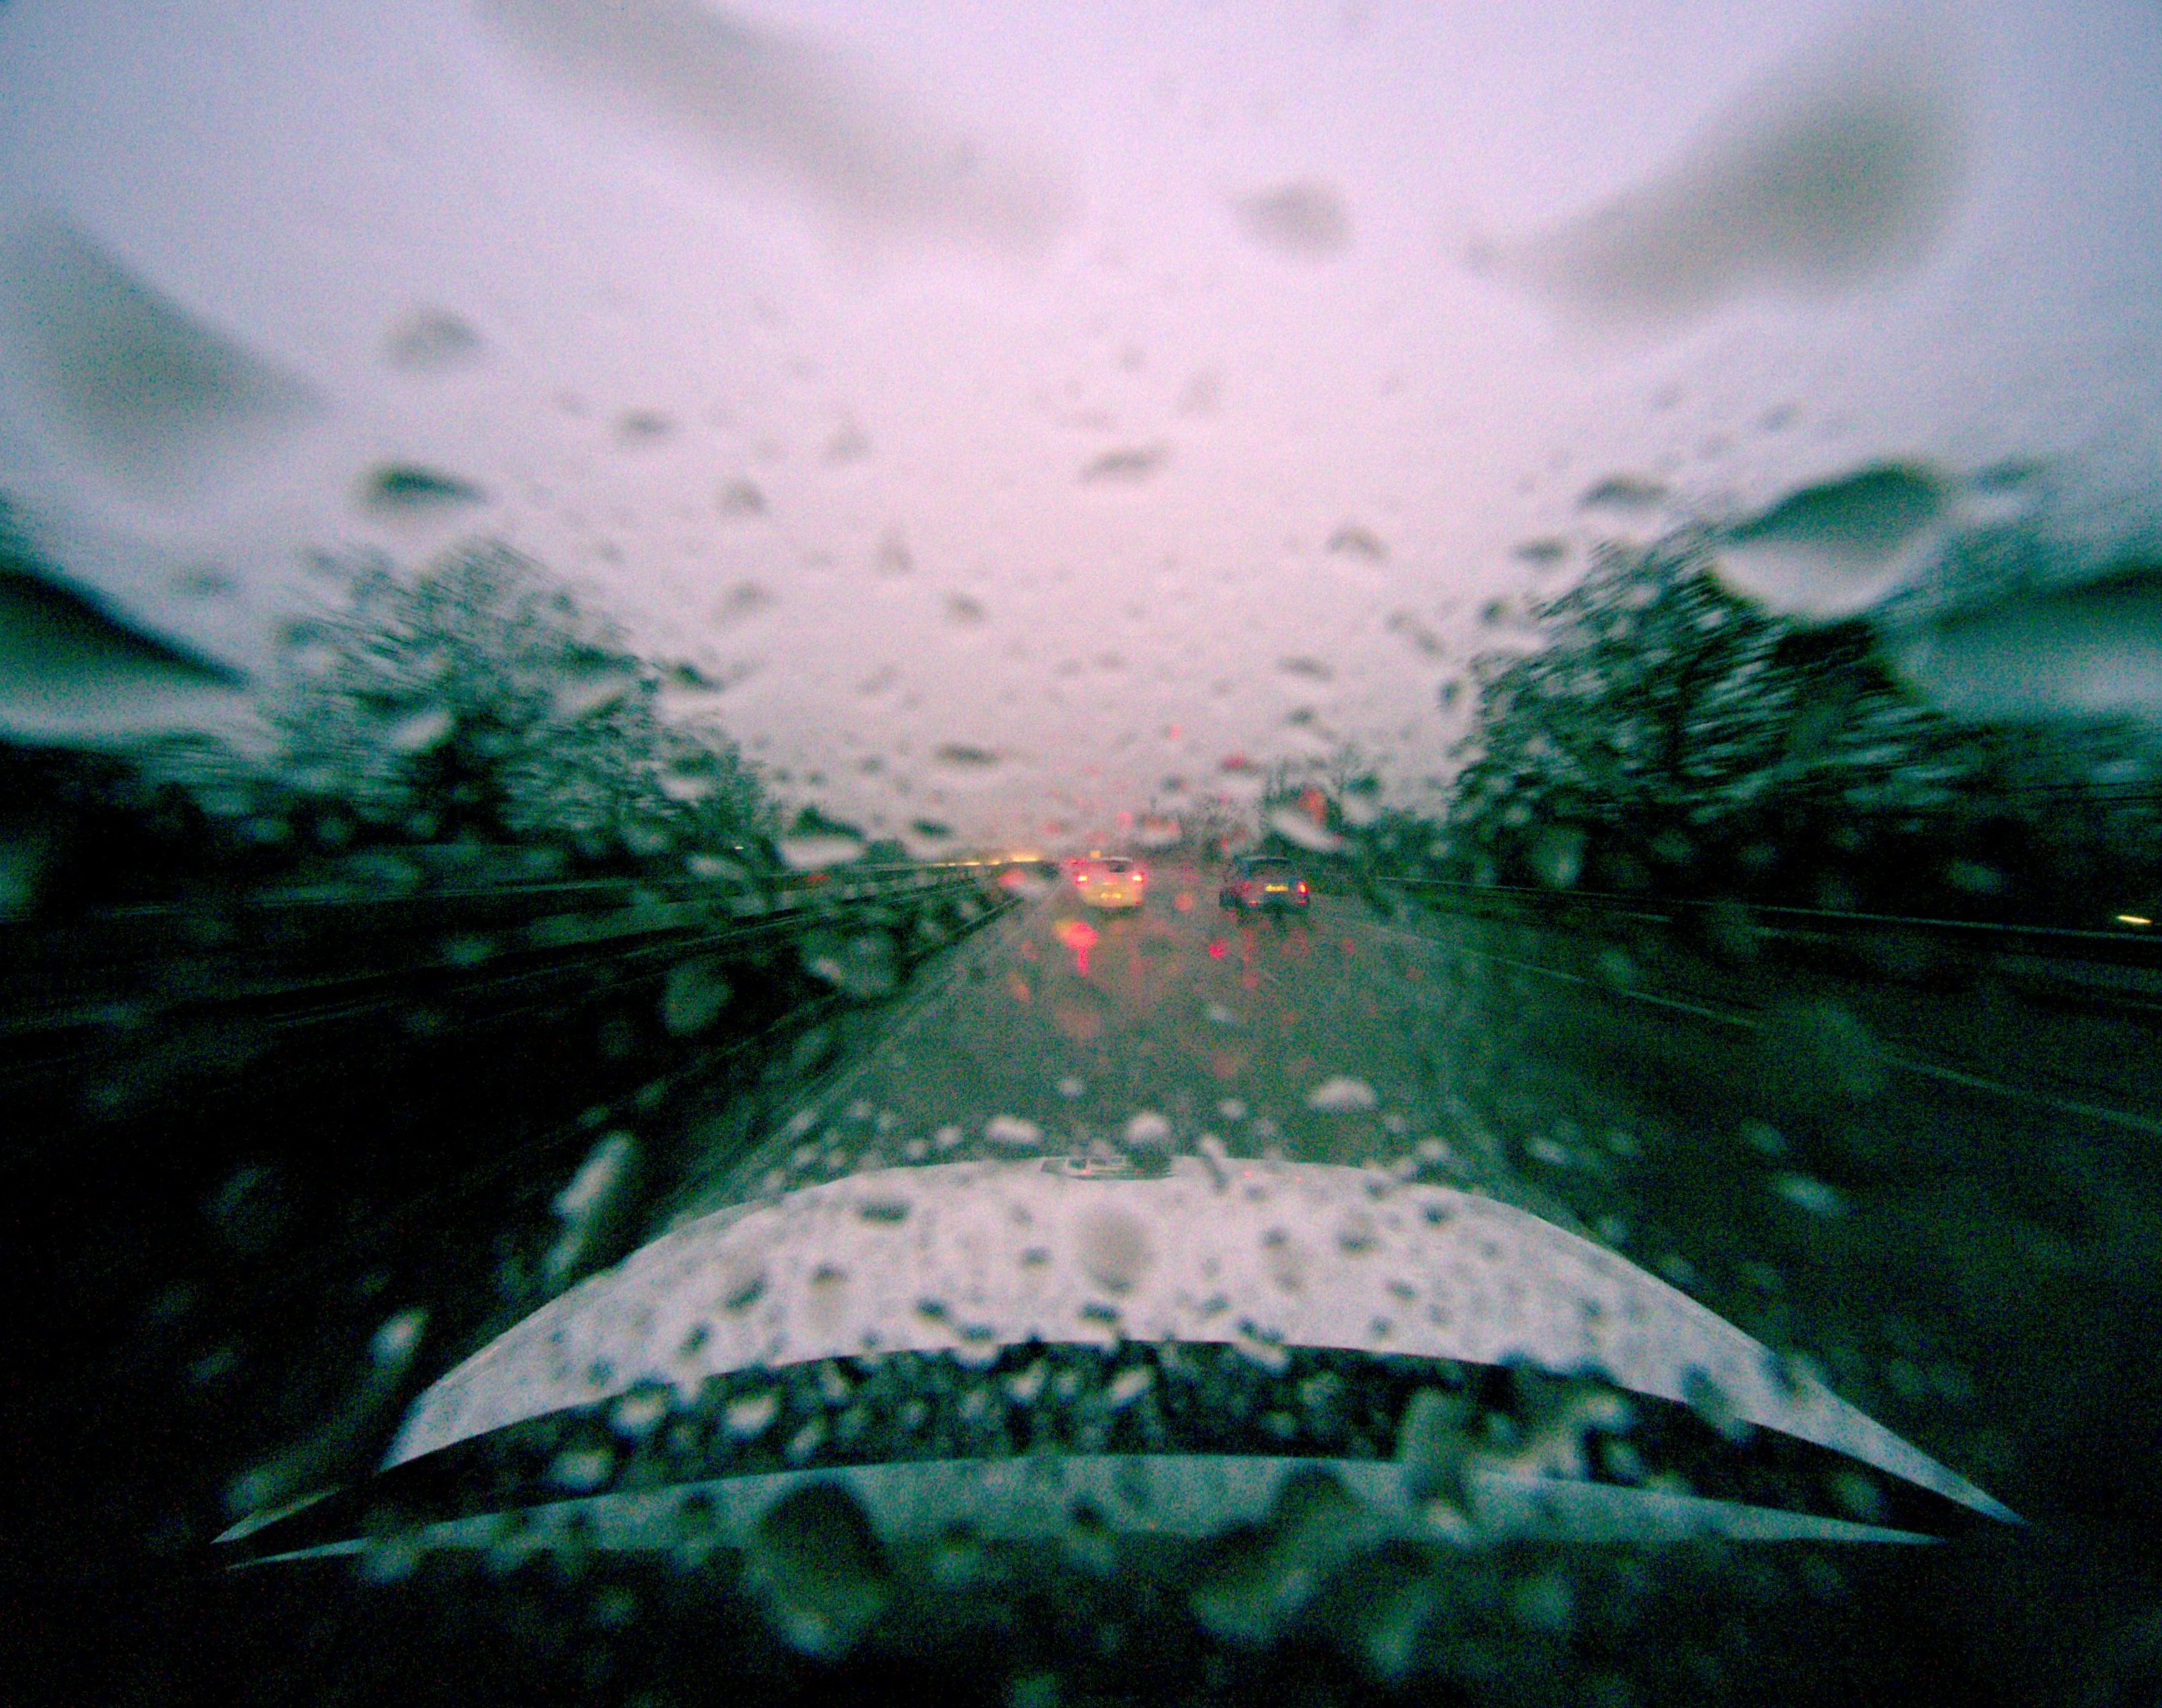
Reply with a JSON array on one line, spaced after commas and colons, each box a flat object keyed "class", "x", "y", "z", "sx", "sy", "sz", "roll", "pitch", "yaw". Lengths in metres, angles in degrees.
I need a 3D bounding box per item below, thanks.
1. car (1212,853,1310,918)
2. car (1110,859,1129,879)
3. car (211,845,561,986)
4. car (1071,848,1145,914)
[{"class": "car", "x": 4.384, "y": 0.707, "z": 20.438, "sx": 1.837, "sy": 1.453, "sz": 4.154, "roll": 0, "pitch": 0, "yaw": 4}, {"class": "car", "x": 4.162, "y": 1.614, "z": 88.468, "sx": 1.866, "sy": 1.904, "sz": 4.003, "roll": 5, "pitch": -1, "yaw": 3}, {"class": "car", "x": -10.393, "y": 0.850, "z": 12.697, "sx": 1.738, "sy": 1.833, "sz": 4.138, "roll": 0, "pitch": -1, "yaw": 3}, {"class": "car", "x": 0.739, "y": 0.670, "z": 22.157, "sx": 1.838, "sy": 1.636, "sz": 3.769, "roll": 0, "pitch": 0, "yaw": 2}]
